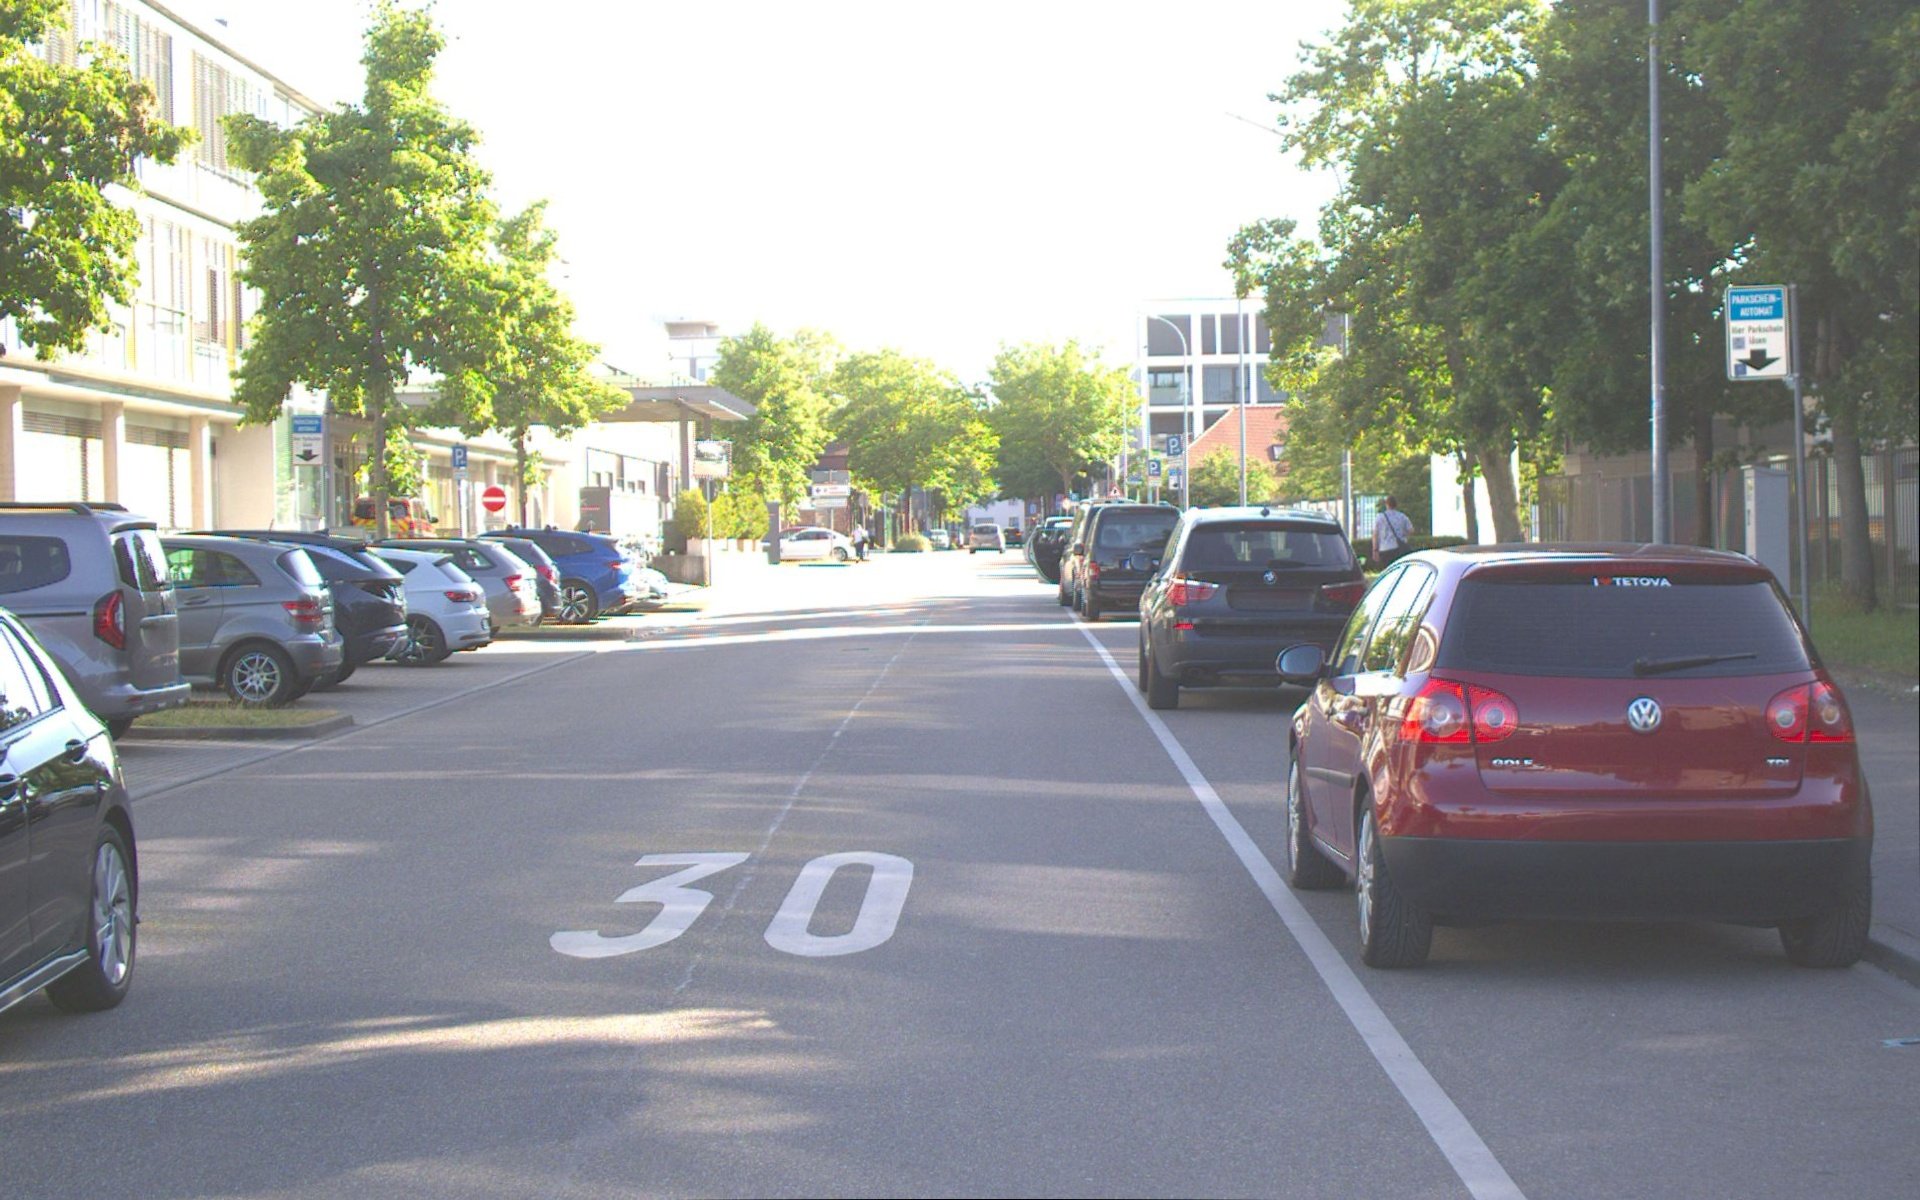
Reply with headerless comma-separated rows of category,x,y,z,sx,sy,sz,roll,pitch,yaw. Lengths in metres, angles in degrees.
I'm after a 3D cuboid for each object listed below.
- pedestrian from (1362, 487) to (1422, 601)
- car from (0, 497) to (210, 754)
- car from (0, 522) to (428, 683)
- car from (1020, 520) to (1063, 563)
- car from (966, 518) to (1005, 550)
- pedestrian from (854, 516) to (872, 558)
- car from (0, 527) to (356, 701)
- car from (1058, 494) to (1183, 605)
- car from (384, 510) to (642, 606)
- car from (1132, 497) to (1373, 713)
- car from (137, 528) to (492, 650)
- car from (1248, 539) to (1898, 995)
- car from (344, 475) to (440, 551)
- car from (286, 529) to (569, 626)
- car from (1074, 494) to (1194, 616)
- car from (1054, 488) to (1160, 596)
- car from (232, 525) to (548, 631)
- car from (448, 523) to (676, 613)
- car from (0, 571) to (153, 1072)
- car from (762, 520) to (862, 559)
pedestrian,6.476,-0.844,51.552,0.698,1.655,0.752,-4,1,1
car,-8.207,0.148,25.811,4.742,1.858,1.827,0,2,1
car,-7.776,0.003,35.752,4.246,1.606,2.048,0,1,-3
car,3.959,-2.821,167.197,1.993,2.007,4.000,-1,0,1
car,1.294,-3.315,172.181,1.744,1.538,4.000,-1,1,4
pedestrian,-3.861,-2.513,137.222,0.618,1.618,0.716,-2,1,1
car,-7.888,0.111,32.801,3.986,1.601,1.872,0,1,-3
car,2.796,-0.908,60.656,1.993,1.816,4.199,-2,1,1
car,-7.580,-0.728,58.557,4.213,1.597,1.872,0,1,-3
car,2.425,-0.028,29.465,1.812,1.660,4.592,0,2,2
car,-7.718,-0.114,41.408,3.986,1.354,1.743,0,-3,-3
car,2.173,0.498,13.433,1.720,1.450,4.652,0,1,0
car,-16.074,-2.445,97.486,1.993,2.007,4.000,-1,0,1
car,-8.326,-0.362,53.989,4.213,1.481,1.872,0,1,-3
car,2.721,-0.727,54.417,1.733,1.824,3.905,-1,1,1
car,2.827,-1.150,66.901,1.874,1.971,4.000,-2,1,1
car,-7.999,-0.321,48.565,4.213,1.457,1.872,0,1,-3
car,-7.318,-0.611,63.500,3.986,1.546,2.000,-1,2,-2
car,-3.701,0.707,9.909,1.703,1.446,4.086,-3,1,0
car,-6.123,-2.487,142.141,3.987,1.514,2.000,-1,0,1
